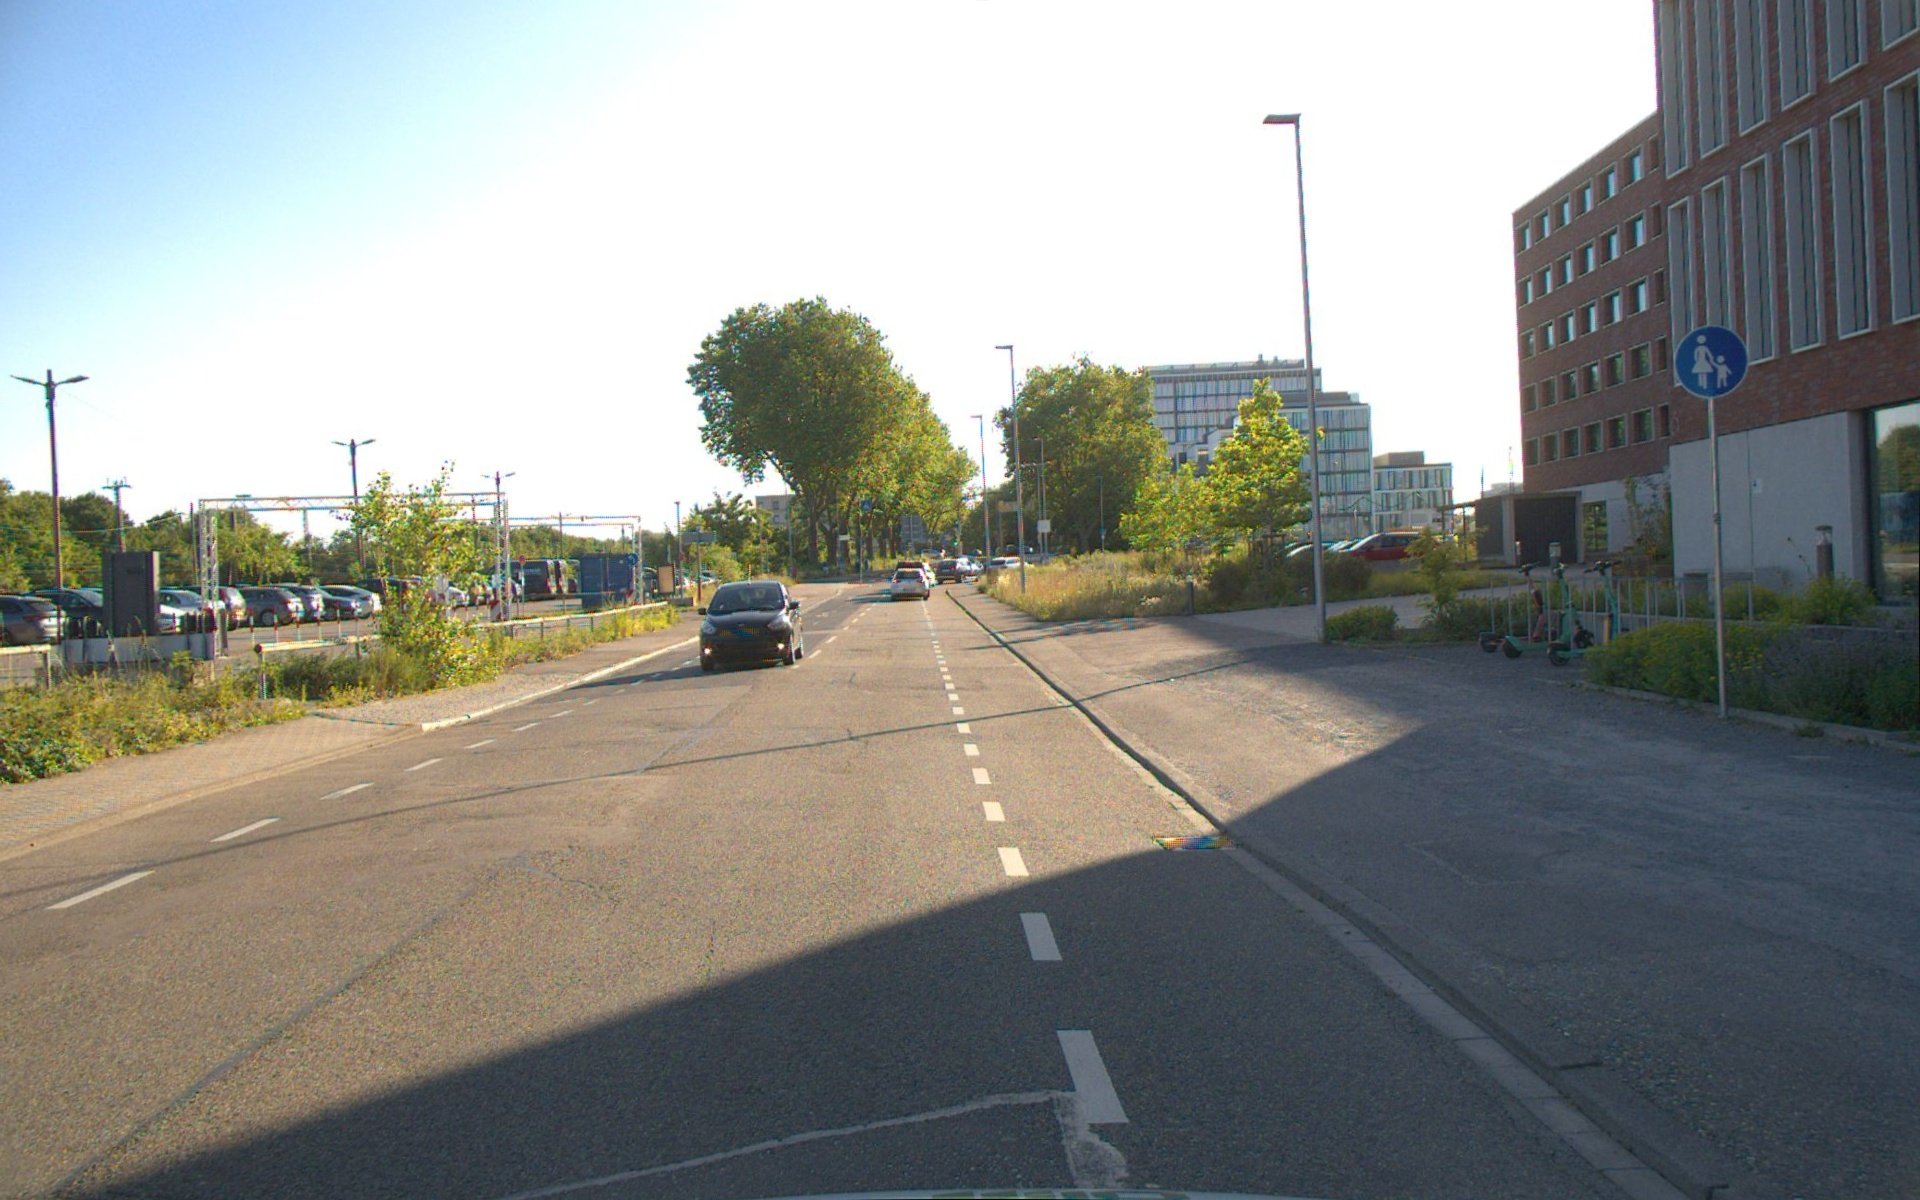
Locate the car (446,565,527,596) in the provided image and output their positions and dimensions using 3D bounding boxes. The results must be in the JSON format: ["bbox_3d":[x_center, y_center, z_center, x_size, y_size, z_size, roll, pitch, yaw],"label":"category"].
[{"bbox_3d":[-27.591,-1.168,96.441,4.123,1.646,1.878,-2,2,-3],"label":"car"}]

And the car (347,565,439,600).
[{"bbox_3d":[-27.417,-0.868,80.074,3.805,1.546,1.878,-2,2,-3],"label":"car"}]

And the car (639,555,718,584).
[{"bbox_3d":[-16.978,-1.843,99.773,4.451,1.584,1.878,-2,2,-3],"label":"car"}]

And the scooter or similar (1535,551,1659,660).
[{"bbox_3d":[7.800,0.063,20.286,1.312,1.266,0.424,-3,1,3],"label":"scooter or similar"}]

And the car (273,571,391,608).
[{"bbox_3d":[-26.639,-0.443,70.279,4.235,1.400,1.878,-2,2,-3],"label":"car"}]

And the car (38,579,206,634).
[{"bbox_3d":[-26.103,0.192,51.623,4.234,1.550,1.878,-2,2,-1],"label":"car"}]

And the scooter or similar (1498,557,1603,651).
[{"bbox_3d":[7.799,0.047,21.849,1.217,1.175,0.366,-3,1,3],"label":"scooter or similar"}]

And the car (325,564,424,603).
[{"bbox_3d":[-26.773,-0.786,75.694,3.805,1.631,1.878,-2,2,-3],"label":"car"}]

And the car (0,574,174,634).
[{"bbox_3d":[-26.121,0.105,49.211,4.483,1.612,1.857,-2,2,-1],"label":"car"}]

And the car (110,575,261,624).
[{"bbox_3d":[-26.535,-0.039,56.775,4.234,1.488,1.878,-2,2,-1],"label":"car"}]

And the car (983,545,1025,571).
[{"bbox_3d":[3.038,-2.882,113.914,2.117,1.713,4.004,-1,1,13],"label":"car"}]

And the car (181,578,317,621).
[{"bbox_3d":[-26.659,-0.031,62.107,4.235,1.444,1.878,-2,2,-3],"label":"car"}]

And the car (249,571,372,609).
[{"bbox_3d":[-26.480,-0.420,67.488,4.235,1.400,1.878,-2,2,-3],"label":"car"}]

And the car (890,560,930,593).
[{"bbox_3d":[-2.315,-1.122,77.265,1.753,1.444,4.000,-2,2,-1],"label":"car"}]

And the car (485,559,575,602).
[{"bbox_3d":[-27.040,-1.256,104.209,4.994,2.502,2.319,-2,2,-3],"label":"car"}]

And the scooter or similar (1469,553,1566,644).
[{"bbox_3d":[7.853,-0.023,23.321,1.217,1.215,0.340,-3,1,3],"label":"scooter or similar"}]

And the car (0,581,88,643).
[{"bbox_3d":[-25.757,0.339,43.572,4.481,1.506,1.991,-1,2,1],"label":"car"}]

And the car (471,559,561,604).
[{"bbox_3d":[-27.193,-1.125,101.512,4.828,2.502,2.319,-3,1,-3],"label":"car"}]

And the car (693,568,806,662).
[{"bbox_3d":[-3.816,0.238,30.569,1.621,1.529,3.999,-3,1,-2],"label":"car"}]

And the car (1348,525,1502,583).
[{"bbox_3d":[13.893,-1.378,49.549,4.097,1.608,1.852,-2,2,2],"label":"car"}]

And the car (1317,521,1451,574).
[{"bbox_3d":[14.456,-1.768,56.512,4.097,1.608,1.852,-2,0,2],"label":"car"}]

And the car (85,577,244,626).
[{"bbox_3d":[-26.034,0.045,54.214,4.234,1.417,1.878,-2,2,-1],"label":"car"}]

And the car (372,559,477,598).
[{"bbox_3d":[-26.829,-1.100,82.949,4.485,1.771,2.059,-1,2,2],"label":"car"}]

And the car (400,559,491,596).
[{"bbox_3d":[-27.546,-1.237,88.626,4.235,1.822,1.878,-2,2,-3],"label":"car"}]

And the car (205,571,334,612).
[{"bbox_3d":[-27.084,-0.336,64.963,4.235,1.444,1.878,-2,2,-3],"label":"car"}]

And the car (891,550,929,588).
[{"bbox_3d":[-2.478,-1.603,83.286,1.782,1.799,4.629,-2,2,-1],"label":"car"}]

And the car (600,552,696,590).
[{"bbox_3d":[-16.681,-1.556,88.580,4.748,1.866,1.999,-2,2,-3],"label":"car"}]

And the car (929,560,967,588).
[{"bbox_3d":[-0.736,-1.693,107.450,2.118,1.713,4.002,-3,1,3],"label":"car"}]

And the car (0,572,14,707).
[{"bbox_3d":[-14.299,0.601,20.098,4.338,1.699,2.048,-2,1,-1],"label":"car"}]

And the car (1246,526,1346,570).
[{"bbox_3d":[14.306,-2.217,70.599,3.904,1.735,1.852,-2,2,2],"label":"car"}]

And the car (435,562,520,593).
[{"bbox_3d":[-27.375,-1.293,93.894,4.235,1.646,1.878,-2,2,-3],"label":"car"}]
